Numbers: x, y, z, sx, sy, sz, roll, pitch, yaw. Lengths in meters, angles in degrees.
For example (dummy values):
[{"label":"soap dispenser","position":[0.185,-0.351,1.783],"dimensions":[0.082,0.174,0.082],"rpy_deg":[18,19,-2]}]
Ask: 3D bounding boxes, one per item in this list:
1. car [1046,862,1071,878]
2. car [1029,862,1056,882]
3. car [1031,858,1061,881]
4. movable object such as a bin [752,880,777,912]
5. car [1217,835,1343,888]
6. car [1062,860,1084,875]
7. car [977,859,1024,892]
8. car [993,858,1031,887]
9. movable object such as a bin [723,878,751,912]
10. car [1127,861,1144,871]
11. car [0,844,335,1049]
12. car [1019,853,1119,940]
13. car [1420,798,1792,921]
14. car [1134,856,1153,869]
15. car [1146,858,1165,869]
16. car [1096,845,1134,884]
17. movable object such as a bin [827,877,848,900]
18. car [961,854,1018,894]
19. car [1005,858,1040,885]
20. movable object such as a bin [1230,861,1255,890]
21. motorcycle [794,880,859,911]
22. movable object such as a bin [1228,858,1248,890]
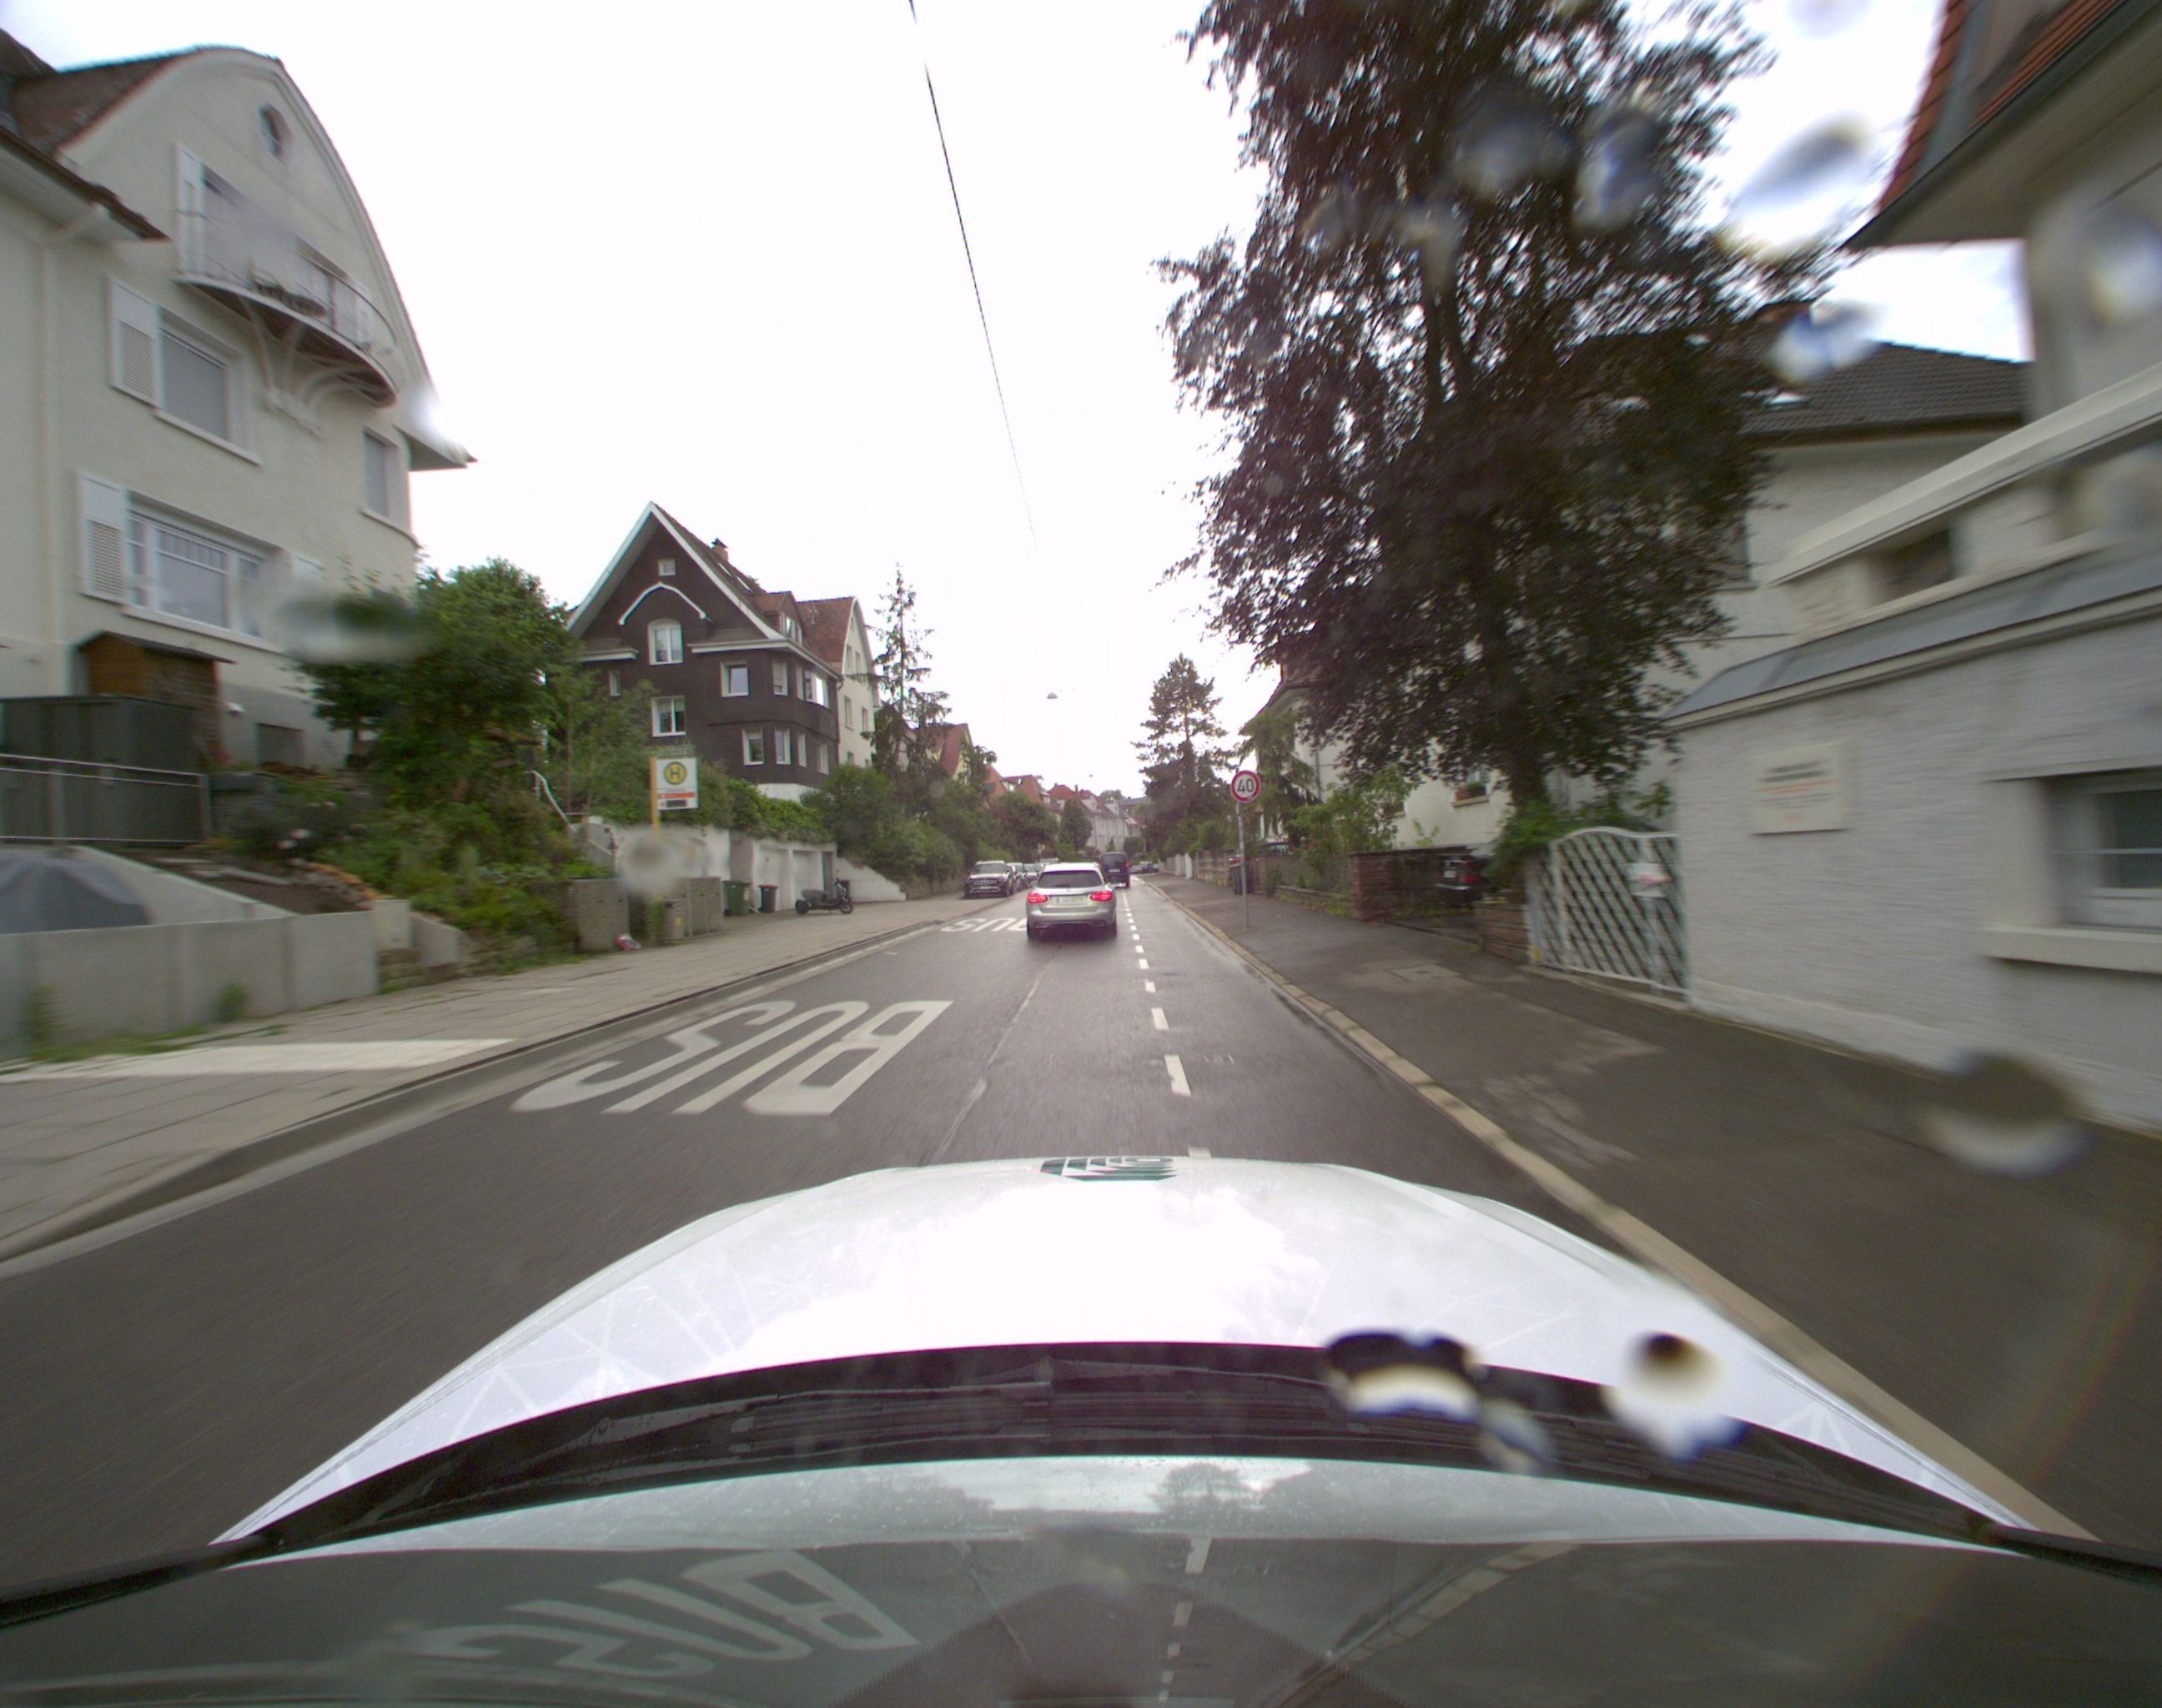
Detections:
[{"label":"car","position":[-2.278,1.654,83.248],"dimensions":[1.984,1.580,4.767],"rpy_deg":[0,0,5]},{"label":"car","position":[-3.026,1.418,64.520],"dimensions":[1.687,1.447,3.816],"rpy_deg":[-3,-1,3]},{"label":"car","position":[-2.972,1.340,70.666],"dimensions":[1.985,1.878,5.361],"rpy_deg":[-1,0,3]},{"label":"movable object such as a bin","position":[-10.164,1.351,26.169],"dimensions":[0.572,0.953,0.512],"rpy_deg":[-2,1,-3]},{"label":"car","position":[6.931,0.232,28.717],"dimensions":[3.972,1.639,1.919],"rpy_deg":[-2,1,1]},{"label":"car","position":[-0.924,1.509,93.901],"dimensions":[1.983,1.702,4.747],"rpy_deg":[0,0,7]},{"label":"car","position":[-4.078,1.058,41.747],"dimensions":[1.886,1.446,3.815],"rpy_deg":[-2,1,1]},{"label":"car","position":[-3.866,1.019,46.172],"dimensions":[1.690,1.541,3.815],"rpy_deg":[-2,0,1]},{"label":"movable object such as a bin","position":[-10.236,1.204,24.247],"dimensions":[0.572,0.953,0.512],"rpy_deg":[-2,1,-3]},{"label":"car","position":[8.941,1.977,133.182],"dimensions":[1.631,1.417,4.633],"rpy_deg":[-2,-1,17]},{"label":"car","position":[-10.037,0.804,7.977],"dimensions":[1.761,1.696,3.997],"rpy_deg":[-2,1,-2]},{"label":"car","position":[-0.226,0.794,17.040],"dimensions":[1.811,1.556,3.999],"rpy_deg":[-2,0,0]},{"label":"car","position":[7.523,0.140,12.102],"dimensions":[4.127,1.486,1.979],"rpy_deg":[-3,-4,5]},{"label":"car","position":[10.649,1.483,138.214],"dimensions":[1.814,2.056,5.034],"rpy_deg":[-2,-1,19]},{"label":"car","position":[13.301,1.683,144.851],"dimensions":[1.976,1.688,4.703],"rpy_deg":[-2,1,23]},{"label":"car","position":[1.764,0.549,43.093],"dimensions":[1.836,1.904,4.000],"rpy_deg":[-2,-1,1]},{"label":"movable object such as a bin","position":[-10.039,1.400,33.552],"dimensions":[0.625,0.889,0.482],"rpy_deg":[-3,1,-42]},{"label":"car","position":[-4.030,0.853,36.681],"dimensions":[1.886,1.622,4.380],"rpy_deg":[-2,0,1]},{"label":"car","position":[-3.635,1.066,51.378],"dimensions":[1.749,1.446,4.418],"rpy_deg":[-2,1,2]},{"label":"movable object such as a bin","position":[4.970,0.649,25.079],"dimensions":[0.649,0.855,0.503],"rpy_deg":[-2,1,0]},{"label":"motorcycle","position":[-7.753,1.264,24.858],"dimensions":[1.787,0.903,0.603],"rpy_deg":[0,-1,1]},{"label":"movable object such as a bin","position":[4.946,0.619,25.626],"dimensions":[0.492,0.955,0.503],"rpy_deg":[-2,1,0]}]
